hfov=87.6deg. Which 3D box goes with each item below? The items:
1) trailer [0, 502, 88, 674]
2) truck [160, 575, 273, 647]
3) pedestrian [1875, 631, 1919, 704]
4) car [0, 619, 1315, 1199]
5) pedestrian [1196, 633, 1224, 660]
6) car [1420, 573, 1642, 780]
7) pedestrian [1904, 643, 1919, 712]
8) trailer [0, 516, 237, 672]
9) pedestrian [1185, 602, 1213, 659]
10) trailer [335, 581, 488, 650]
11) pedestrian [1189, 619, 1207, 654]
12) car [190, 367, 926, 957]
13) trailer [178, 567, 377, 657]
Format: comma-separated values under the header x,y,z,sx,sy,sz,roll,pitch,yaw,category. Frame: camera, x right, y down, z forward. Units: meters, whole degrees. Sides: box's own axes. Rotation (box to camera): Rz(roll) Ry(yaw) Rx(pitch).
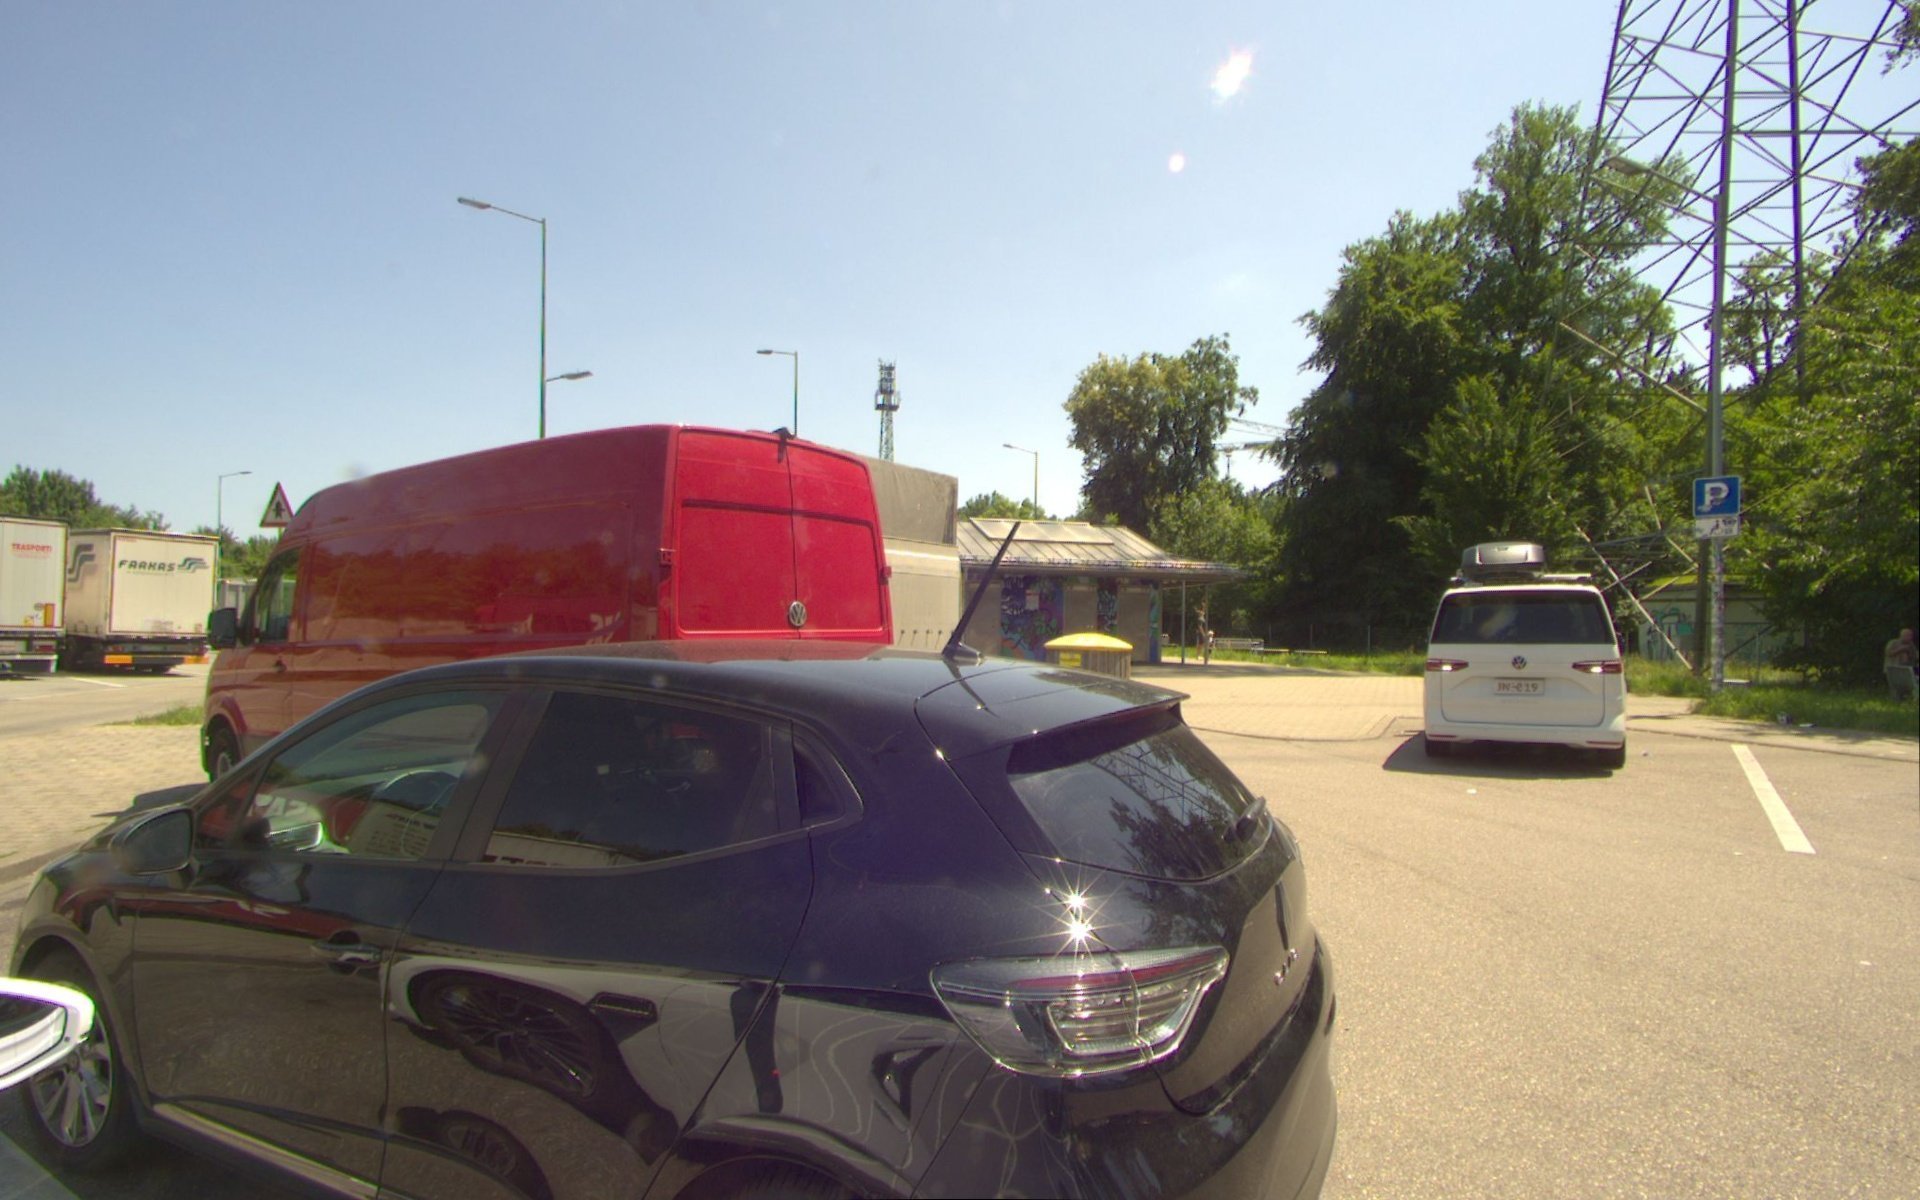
x,y,z,sx,sy,sz,roll,pitch,yaw,category
-28.968,-0.367,28.163,13.523,4.185,2.835,1,-2,33,trailer
-37.693,0.572,50.754,5.405,3.407,2.847,1,-2,34,truck
18.546,1.318,19.720,0.660,1.422,0.647,-1,-1,33,pedestrian
-1.062,0.836,2.919,3.757,1.501,1.736,0,-1,27,car
8.880,1.643,35.613,0.764,0.960,0.645,0,-1,-14,pedestrian
6.523,0.769,11.855,1.881,1.937,4.549,-1,-1,26,car
17.191,1.355,17.489,0.876,1.192,0.666,-1,-2,32,pedestrian
-27.659,-0.188,31.644,13.523,4.185,2.835,1,-2,33,trailer
8.790,1.113,36.861,0.764,2.067,0.645,0,-1,-14,pedestrian
-36.047,0.919,65.447,13.530,4.101,2.833,1,-2,34,trailer
10.818,1.655,45.536,0.634,1.547,0.565,0,-1,-9,pedestrian
-3.354,0.311,7.371,6.310,2.731,2.060,0,-1,37,car
-32.384,0.487,47.154,13.530,3.764,2.834,1,-2,34,trailer
